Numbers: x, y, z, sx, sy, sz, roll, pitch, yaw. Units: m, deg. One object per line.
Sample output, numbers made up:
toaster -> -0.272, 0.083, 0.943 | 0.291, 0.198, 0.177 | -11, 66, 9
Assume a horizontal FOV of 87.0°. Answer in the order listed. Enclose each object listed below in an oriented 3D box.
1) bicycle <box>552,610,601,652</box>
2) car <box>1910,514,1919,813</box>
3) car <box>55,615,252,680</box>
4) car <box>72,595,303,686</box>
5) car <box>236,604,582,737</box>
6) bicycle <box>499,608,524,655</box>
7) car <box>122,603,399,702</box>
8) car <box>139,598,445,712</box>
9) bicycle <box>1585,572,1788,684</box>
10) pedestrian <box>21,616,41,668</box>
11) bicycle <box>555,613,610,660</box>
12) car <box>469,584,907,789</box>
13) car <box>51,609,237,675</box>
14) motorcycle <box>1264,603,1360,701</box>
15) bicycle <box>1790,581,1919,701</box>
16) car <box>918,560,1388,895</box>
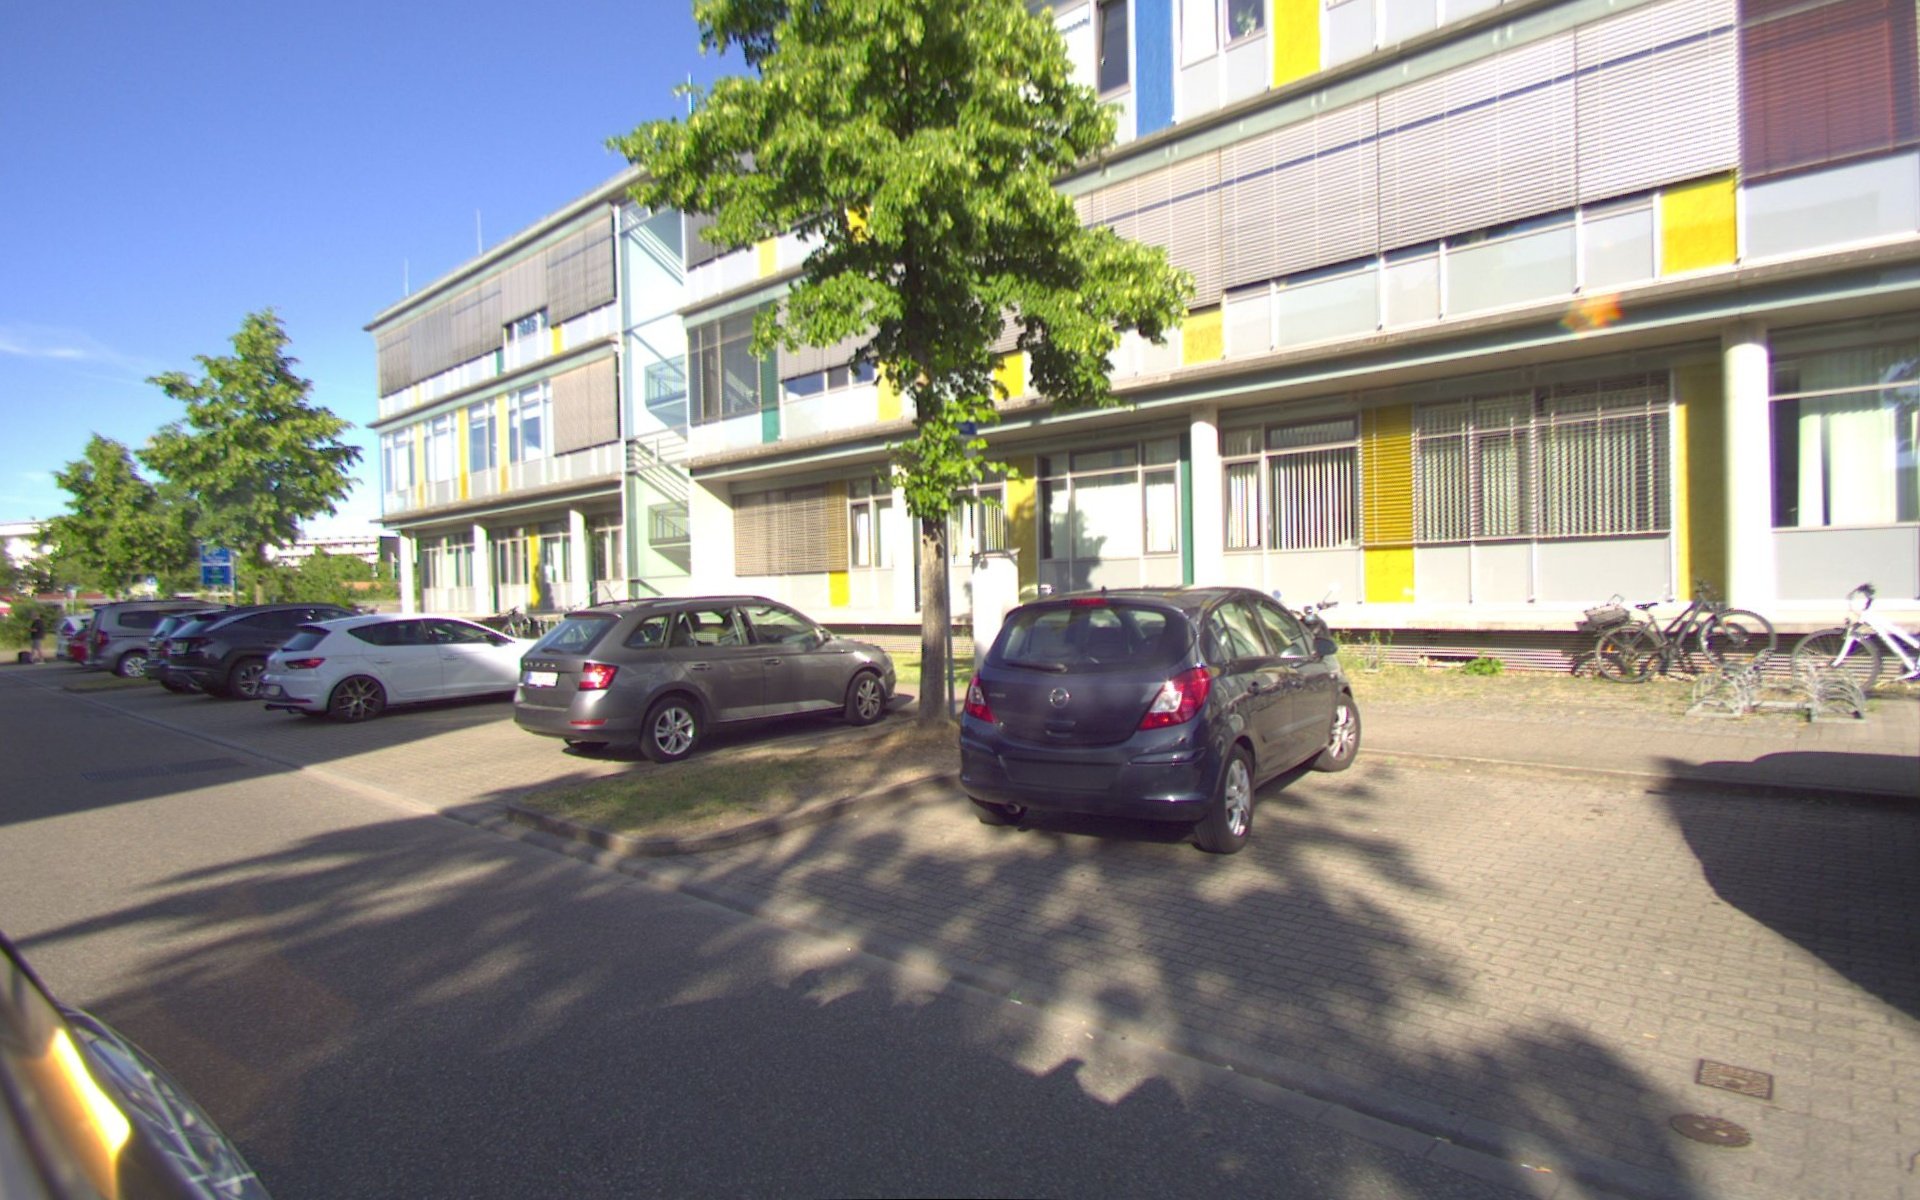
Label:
bicycle -> -10.458, 0.836, 27.592 | 1.659, 1.105, 0.513 | -2, 0, 42
car -> 4.845, 0.404, 3.493 | 1.958, 1.664, 4.179 | -2, 1, 39
car -> -23.437, 1.305, 29.497 | 4.297, 1.471, 2.002 | -4, 2, -43
car -> -19.443, 0.959, 25.615 | 2.000, 1.876, 4.302 | -2, 2, 43
car -> -7.944, 0.905, 14.895 | 1.822, 1.433, 4.050 | -1, 3, 40
bicycle -> -11.930, 0.818, 26.903 | 0.455, 1.104, 1.517 | -3, 4, -29
car -> -14.456, 1.007, 21.130 | 1.997, 1.602, 4.308 | -2, 2, 38
car -> -12.289, 0.902, 18.870 | 1.997, 1.639, 4.308 | -1, 3, 38
bicycle -> 8.437, 0.318, 11.808 | 1.855, 1.208, 0.640 | -2, -1, 41
pedestrian -> -32.096, 1.444, 34.963 | 0.479, 1.733, 0.364 | 4, 5, 38
bicycle -> -9.090, 0.867, 24.333 | 1.659, 1.087, 0.513 | -2, -1, 42
car -> -2.566, 0.688, 10.300 | 1.822, 1.499, 3.941 | -1, 3, 40
car -> -25.365, 1.236, 31.541 | 4.297, 1.658, 2.002 | -4, 2, -43
motorcycle -> 3.964, 0.549, 11.334 | 0.621, 0.951, 1.560 | -1, 1, 34
bicycle -> 9.065, 0.371, 9.559 | 1.855, 1.104, 0.640 | -2, -1, 41
car -> 1.545, 0.556, 6.802 | 1.774, 1.499, 3.711 | -1, 2, 34
